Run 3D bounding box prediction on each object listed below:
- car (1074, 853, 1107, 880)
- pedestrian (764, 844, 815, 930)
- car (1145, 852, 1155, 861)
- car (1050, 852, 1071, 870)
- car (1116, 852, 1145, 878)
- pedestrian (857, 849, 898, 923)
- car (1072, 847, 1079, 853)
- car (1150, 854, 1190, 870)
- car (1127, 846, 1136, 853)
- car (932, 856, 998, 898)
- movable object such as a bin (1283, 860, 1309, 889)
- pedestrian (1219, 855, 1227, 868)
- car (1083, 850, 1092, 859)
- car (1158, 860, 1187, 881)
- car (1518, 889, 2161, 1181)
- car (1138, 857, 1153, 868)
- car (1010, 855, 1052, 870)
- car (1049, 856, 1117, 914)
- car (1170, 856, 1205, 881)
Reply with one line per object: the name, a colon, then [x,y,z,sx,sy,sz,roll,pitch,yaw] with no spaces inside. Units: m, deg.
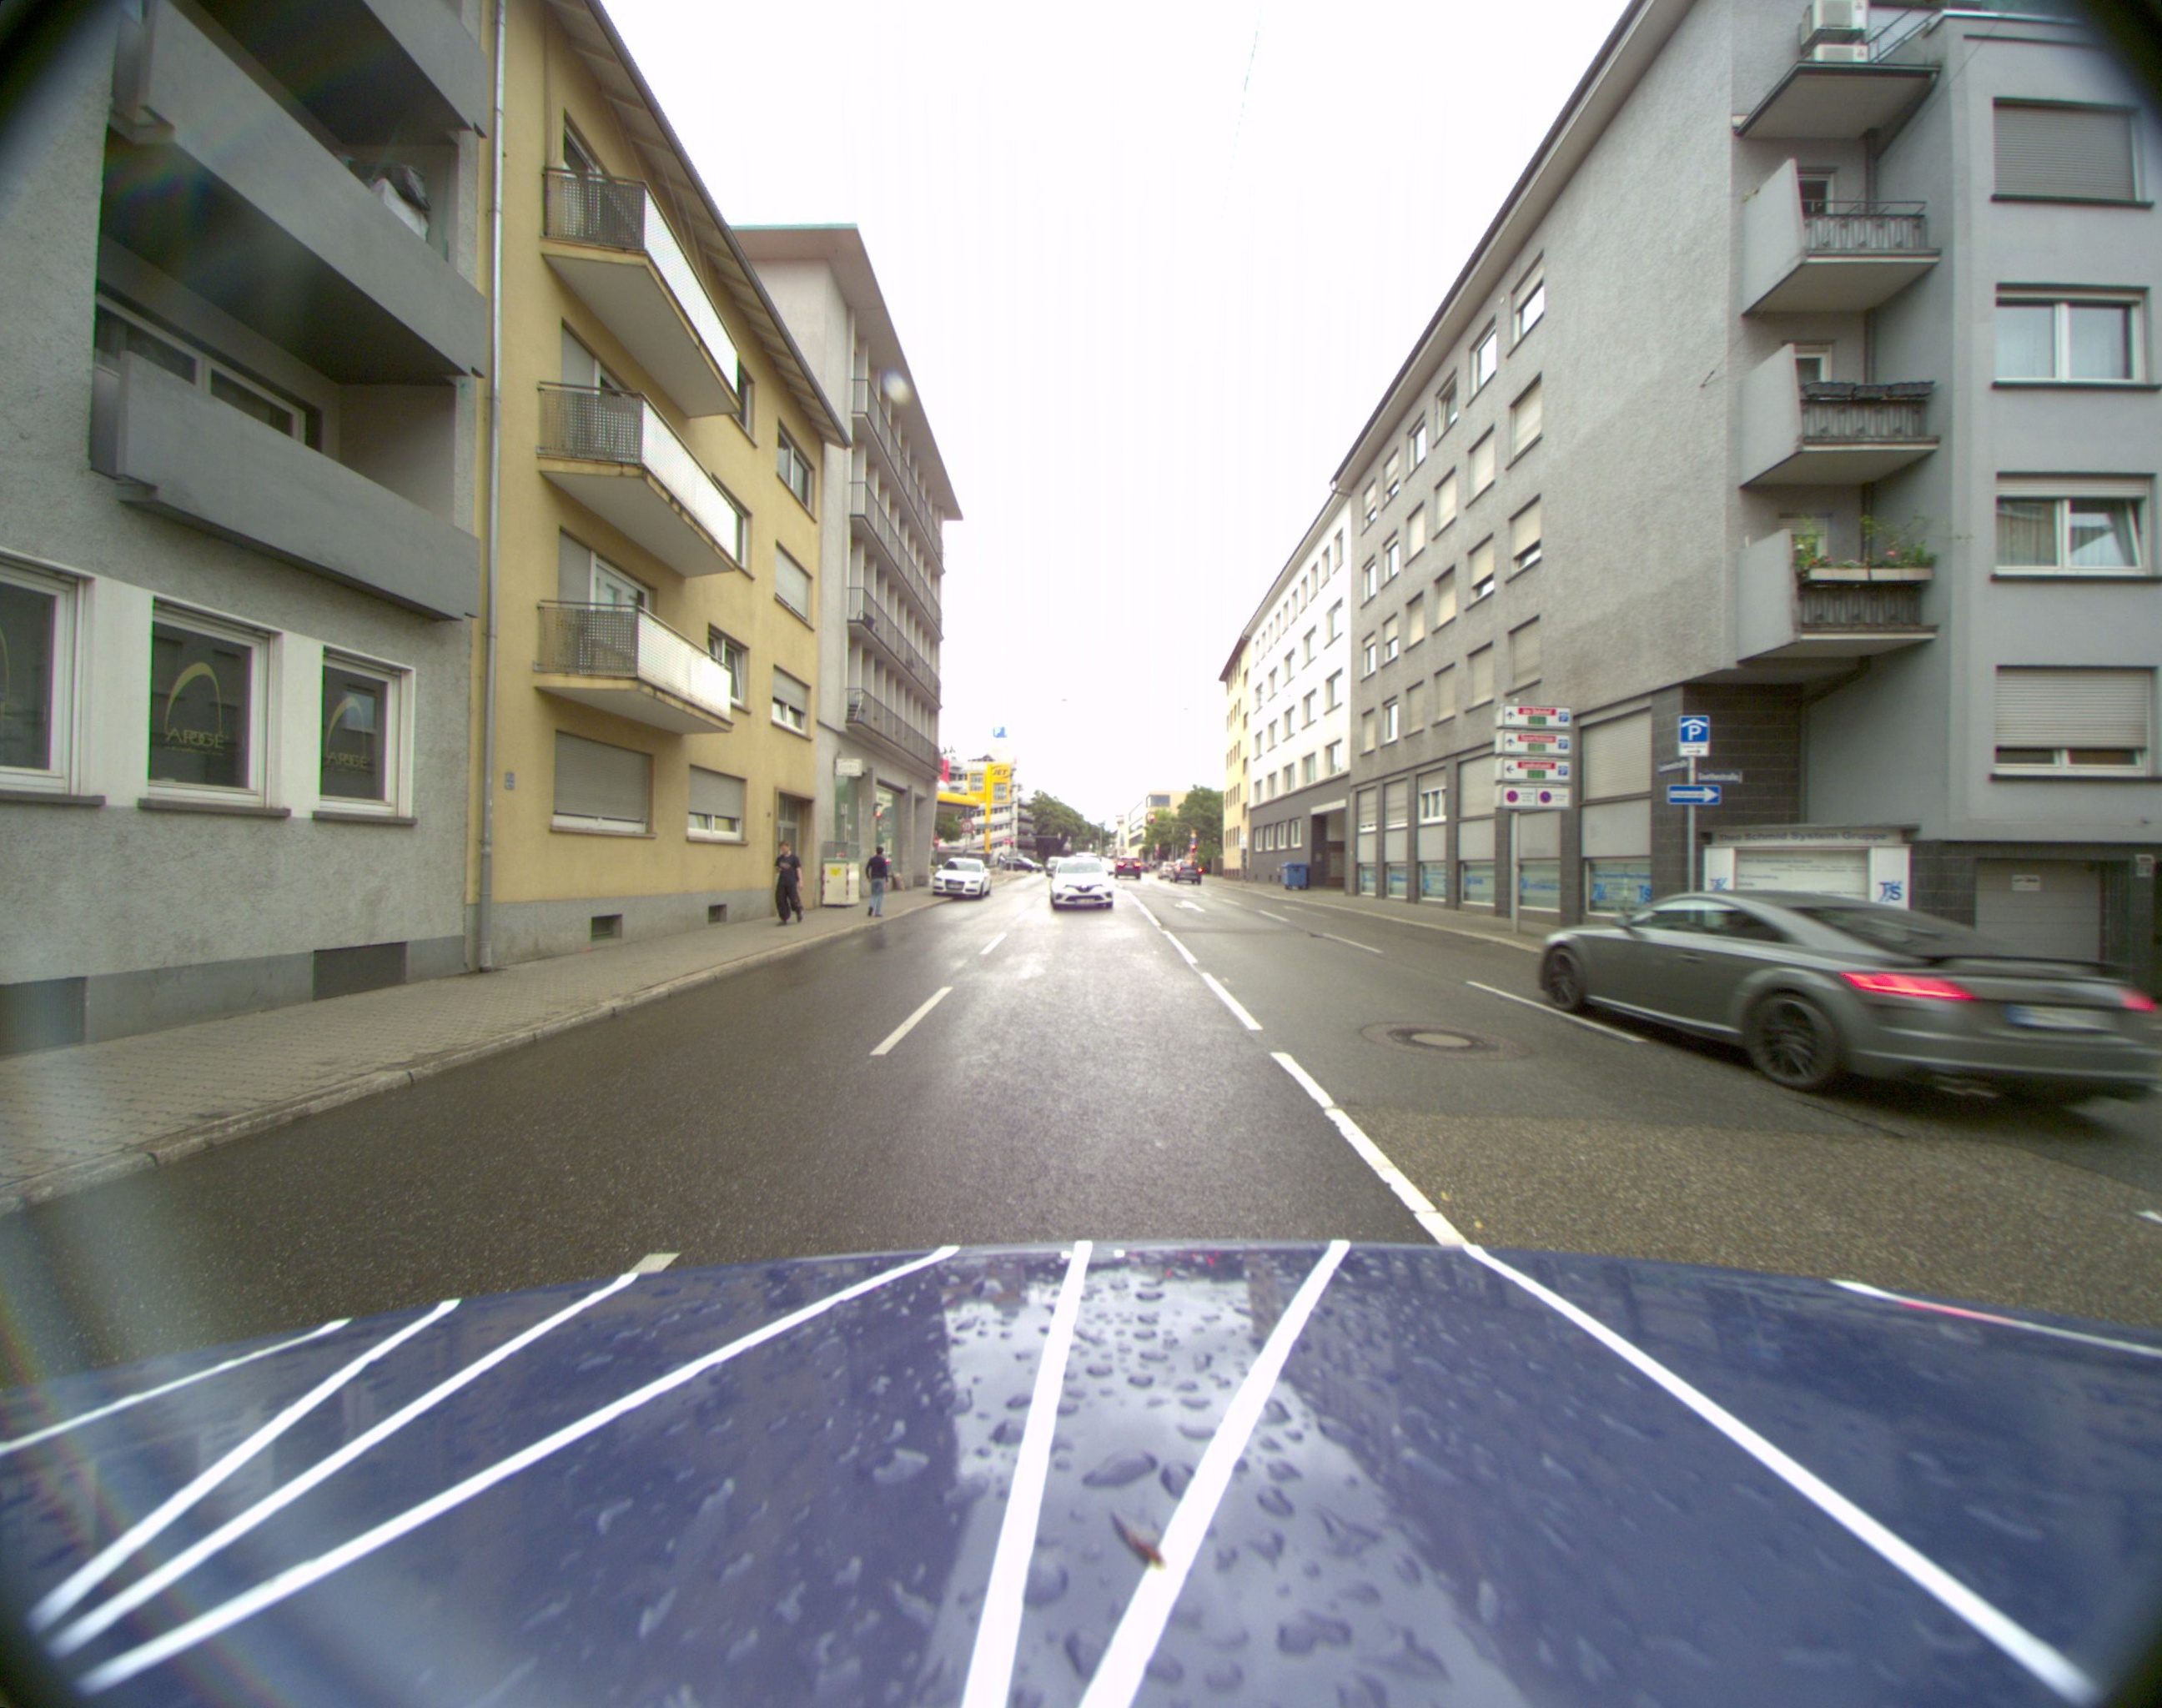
car: [0.648,0.808,53.010,2.132,1.711,4.817,2,0,0]
pedestrian: [-6.092,0.672,15.922,0.679,1.745,0.888,1,1,2]
car: [15.459,0.607,170.047,1.998,1.863,3.999,-2,1,0]
car: [-1.914,0.629,70.662,1.771,1.638,4.000,2,0,0]
car: [3.647,0.789,56.377,1.841,1.717,4.474,3,0,0]
pedestrian: [-5.040,0.767,18.884,0.644,1.768,1.056,3,1,0]
car: [-1.874,-1.323,257.721,1.998,1.827,3.999,-2,1,1]
car: [9.154,0.786,77.889,3.994,1.485,1.773,-2,1,9]
car: [12.863,-1.089,192.886,1.998,1.683,4.000,-2,1,2]
car: [-4.364,0.812,29.060,1.803,1.427,4.166,1,0,1]
movable object such as a bin: [10.391,1.003,36.764,0.946,1.325,1.096,-3,1,1]
pedestrian: [13.056,0.683,69.885,0.582,1.143,0.407,3,1,2]
car: [1.561,0.055,178.837,1.998,2.002,3.999,-2,1,1]
car: [7.421,1.321,62.127,1.883,1.580,4.373,0,0,1]
car: [5.576,1.106,6.140,1.772,1.338,3.888,4,0,0]
car: [9.584,1.309,113.360,1.883,1.580,4.373,0,0,1]
car: [-5.156,0.884,78.404,3.989,1.436,1.775,-2,1,33]
car: [-0.026,0.847,22.576,1.771,1.465,3.999,-2,0,-3]
car: [6.947,0.939,50.017,1.707,1.498,4.159,3,0,0]
